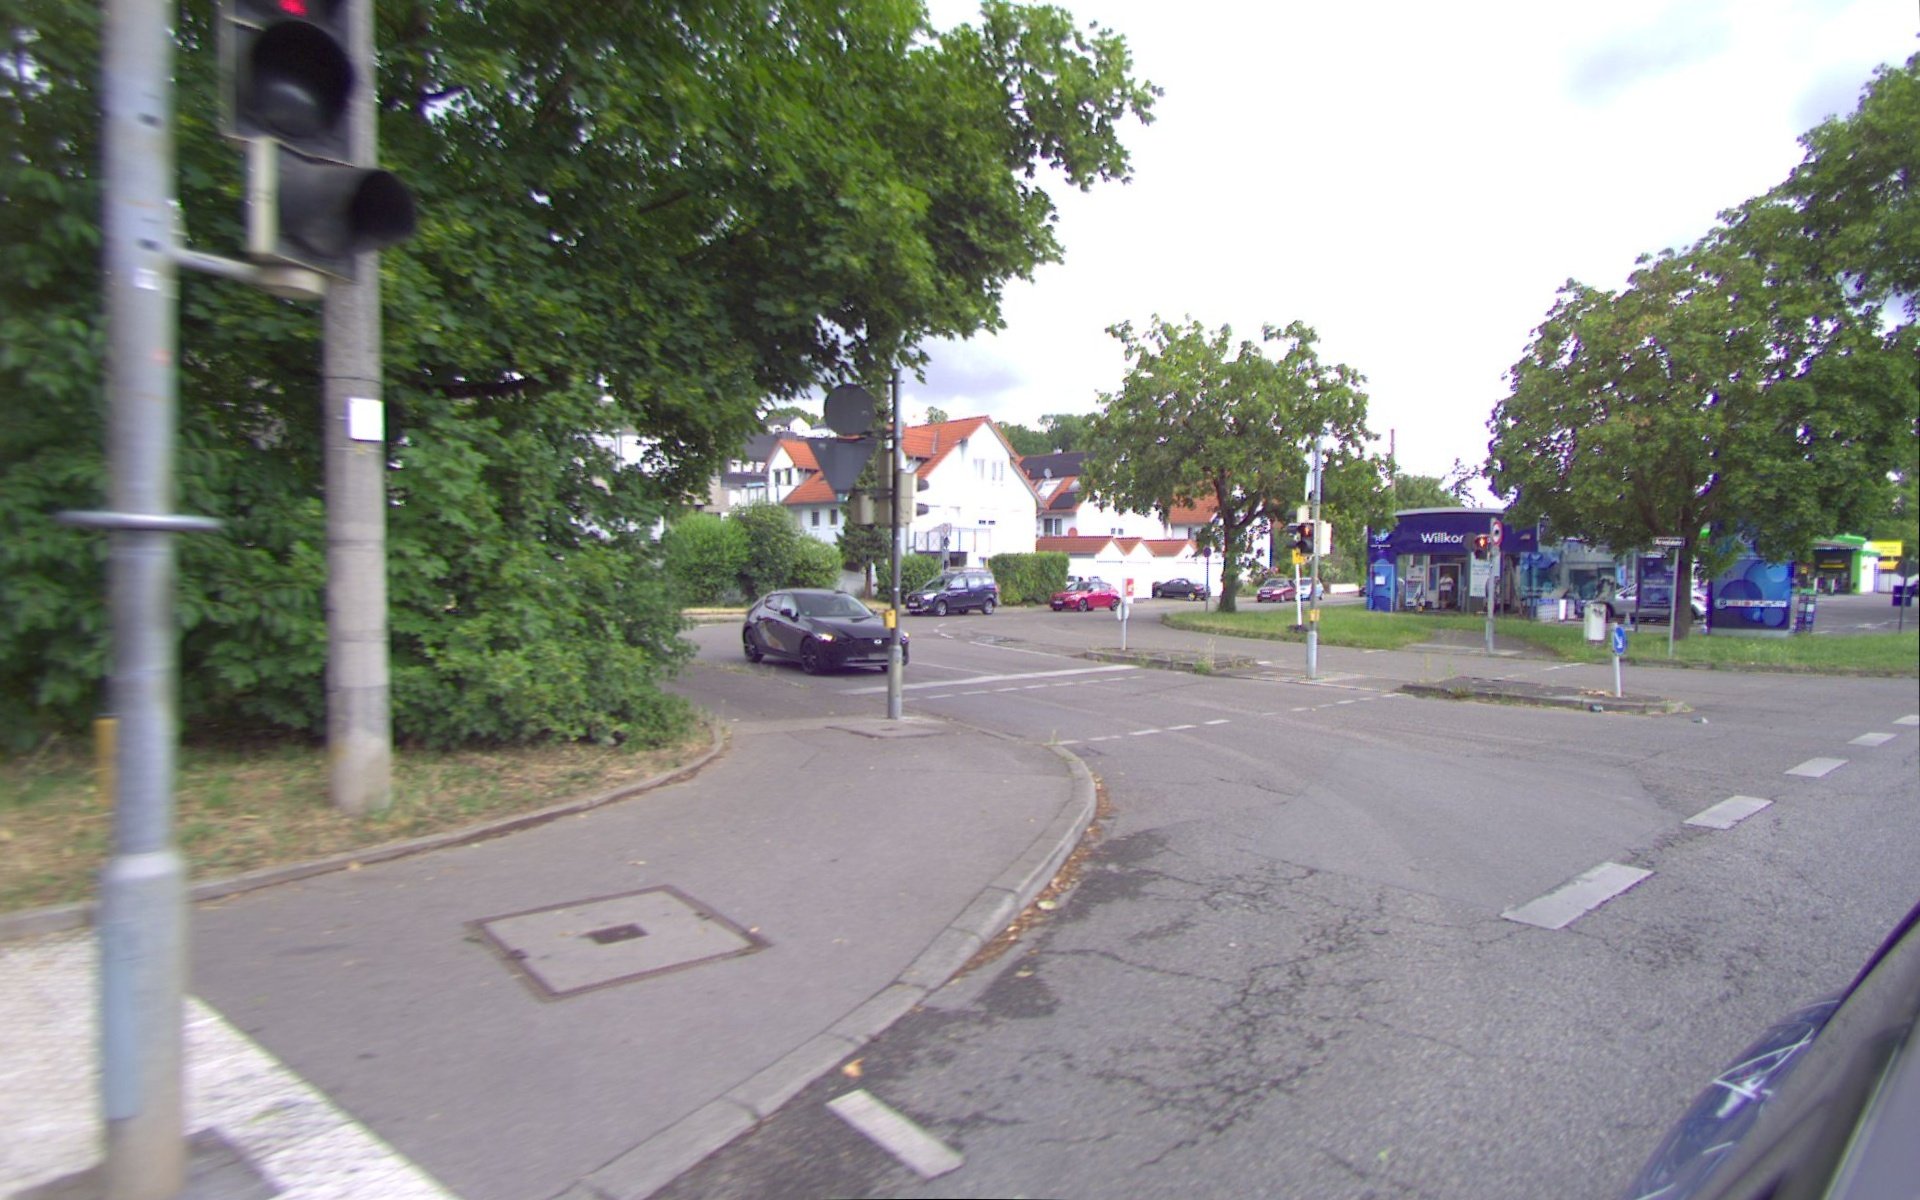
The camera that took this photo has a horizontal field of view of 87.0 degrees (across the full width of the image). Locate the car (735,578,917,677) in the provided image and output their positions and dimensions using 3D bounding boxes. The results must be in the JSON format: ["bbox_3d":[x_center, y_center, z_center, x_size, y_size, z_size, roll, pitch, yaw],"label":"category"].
[{"bbox_3d":[-2.600,0.398,18.754,1.672,1.544,4.168,-1,2,-34],"label":"car"}]

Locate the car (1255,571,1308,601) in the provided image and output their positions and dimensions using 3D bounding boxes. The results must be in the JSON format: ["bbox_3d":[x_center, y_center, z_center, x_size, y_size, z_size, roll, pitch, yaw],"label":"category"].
[{"bbox_3d":[20.463,-0.882,64.394,1.936,1.866,4.196,-1,0,37],"label":"car"}]

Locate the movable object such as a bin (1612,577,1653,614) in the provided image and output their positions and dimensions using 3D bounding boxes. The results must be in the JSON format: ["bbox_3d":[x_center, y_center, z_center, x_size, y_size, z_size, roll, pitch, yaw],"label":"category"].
[{"bbox_3d":[28.937,-0.207,43.519,1.364,1.492,1.160,-1,3,-44],"label":"movable object such as a bin"}]

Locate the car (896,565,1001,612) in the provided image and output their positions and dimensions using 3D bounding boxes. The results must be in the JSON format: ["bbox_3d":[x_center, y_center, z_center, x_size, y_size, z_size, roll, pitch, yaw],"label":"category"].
[{"bbox_3d":[-0.427,-0.474,41.777,4.336,1.866,1.718,-1,0,-44],"label":"car"}]

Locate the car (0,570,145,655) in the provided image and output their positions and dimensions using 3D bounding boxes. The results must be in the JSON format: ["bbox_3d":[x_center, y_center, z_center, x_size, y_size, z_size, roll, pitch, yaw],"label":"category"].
[{"bbox_3d":[-20.942,0.283,22.859,3.941,1.788,1.991,-1,0,14],"label":"car"}]

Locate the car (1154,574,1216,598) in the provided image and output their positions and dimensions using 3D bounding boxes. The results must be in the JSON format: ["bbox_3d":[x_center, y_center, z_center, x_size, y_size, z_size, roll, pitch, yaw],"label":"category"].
[{"bbox_3d":[14.247,-0.893,64.204,1.744,1.475,3.555,-1,0,-39],"label":"car"}]

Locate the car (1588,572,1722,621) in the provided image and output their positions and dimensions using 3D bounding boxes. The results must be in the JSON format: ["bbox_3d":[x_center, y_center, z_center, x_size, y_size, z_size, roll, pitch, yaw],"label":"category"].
[{"bbox_3d":[27.293,-0.190,39.918,4.179,1.718,1.820,3,2,31],"label":"car"}]

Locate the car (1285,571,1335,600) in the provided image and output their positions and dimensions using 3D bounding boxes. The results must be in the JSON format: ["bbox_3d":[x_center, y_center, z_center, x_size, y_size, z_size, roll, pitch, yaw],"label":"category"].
[{"bbox_3d":[23.738,-0.982,68.475,1.936,1.866,4.407,-1,0,37],"label":"car"}]

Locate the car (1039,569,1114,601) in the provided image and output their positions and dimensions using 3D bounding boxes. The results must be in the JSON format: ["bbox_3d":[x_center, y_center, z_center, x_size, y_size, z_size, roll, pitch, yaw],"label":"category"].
[{"bbox_3d":[6.484,-0.829,56.676,3.801,1.716,1.890,-1,0,44],"label":"car"}]

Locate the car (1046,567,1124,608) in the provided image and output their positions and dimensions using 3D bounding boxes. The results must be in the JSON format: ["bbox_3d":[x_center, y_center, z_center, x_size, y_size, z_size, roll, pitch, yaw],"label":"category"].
[{"bbox_3d":[5.975,-0.596,48.167,3.858,1.866,1.617,-1,0,-43],"label":"car"}]
